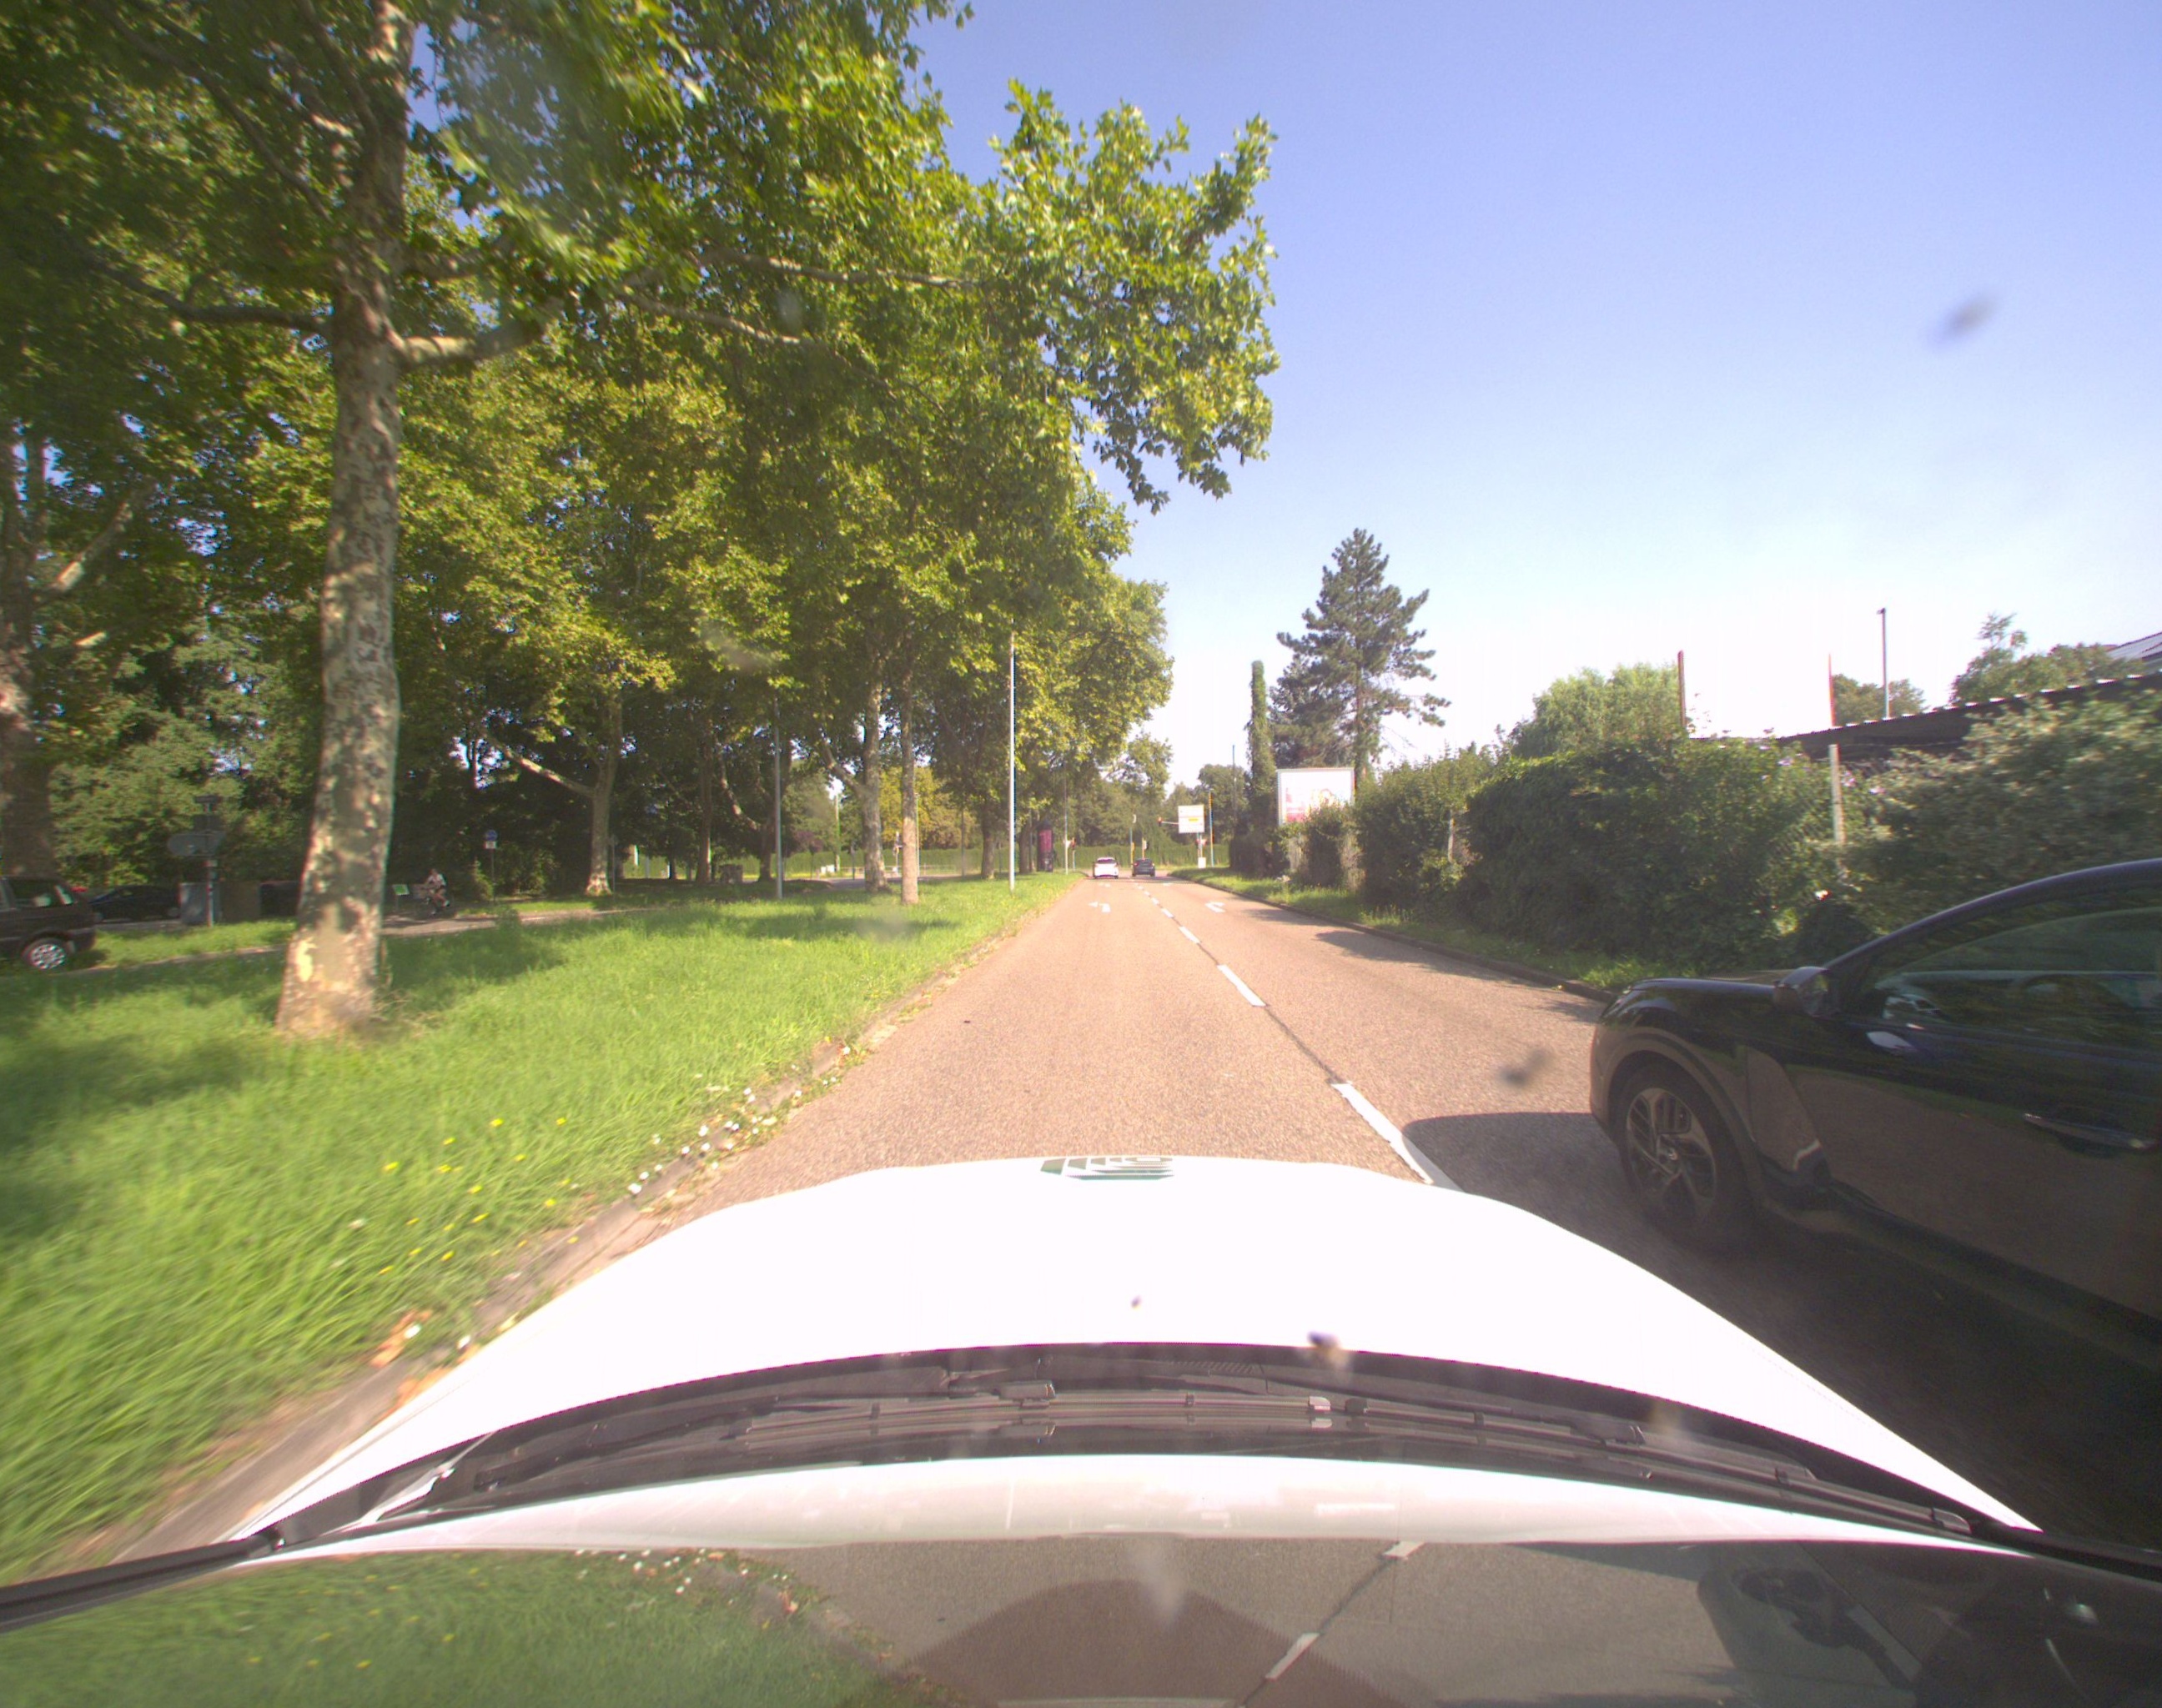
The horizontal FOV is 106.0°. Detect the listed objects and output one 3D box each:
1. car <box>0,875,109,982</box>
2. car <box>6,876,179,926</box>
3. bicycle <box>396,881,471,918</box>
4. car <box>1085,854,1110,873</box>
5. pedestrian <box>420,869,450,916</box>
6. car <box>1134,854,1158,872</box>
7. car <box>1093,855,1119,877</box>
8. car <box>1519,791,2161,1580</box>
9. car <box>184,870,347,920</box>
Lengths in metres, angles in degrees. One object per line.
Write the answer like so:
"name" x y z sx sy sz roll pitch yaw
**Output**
"car" -18.771 1.255 12.614 1.692 1.732 4.663 -1 0 3
"car" -38.673 1.794 32.012 1.687 1.726 4.008 -1 0 7
"bicycle" -23.410 1.627 29.507 0.542 1.199 2.760 -1 0 -1
"car" 1.362 0.761 66.347 1.679 1.462 3.856 -1 0 6
"pedestrian" -23.384 1.382 29.502 0.541 1.690 0.657 -1 -1 -1
"car" 5.280 0.744 66.461 1.791 1.401 4.001 -1 0 2
"car" 1.822 0.807 57.720 1.680 1.462 4.003 -1 0 3
"car" 2.990 0.642 2.033 1.638 1.588 4.258 -2 0 3
"car" -31.852 1.544 32.017 1.687 1.726 4.398 -1 0 7
